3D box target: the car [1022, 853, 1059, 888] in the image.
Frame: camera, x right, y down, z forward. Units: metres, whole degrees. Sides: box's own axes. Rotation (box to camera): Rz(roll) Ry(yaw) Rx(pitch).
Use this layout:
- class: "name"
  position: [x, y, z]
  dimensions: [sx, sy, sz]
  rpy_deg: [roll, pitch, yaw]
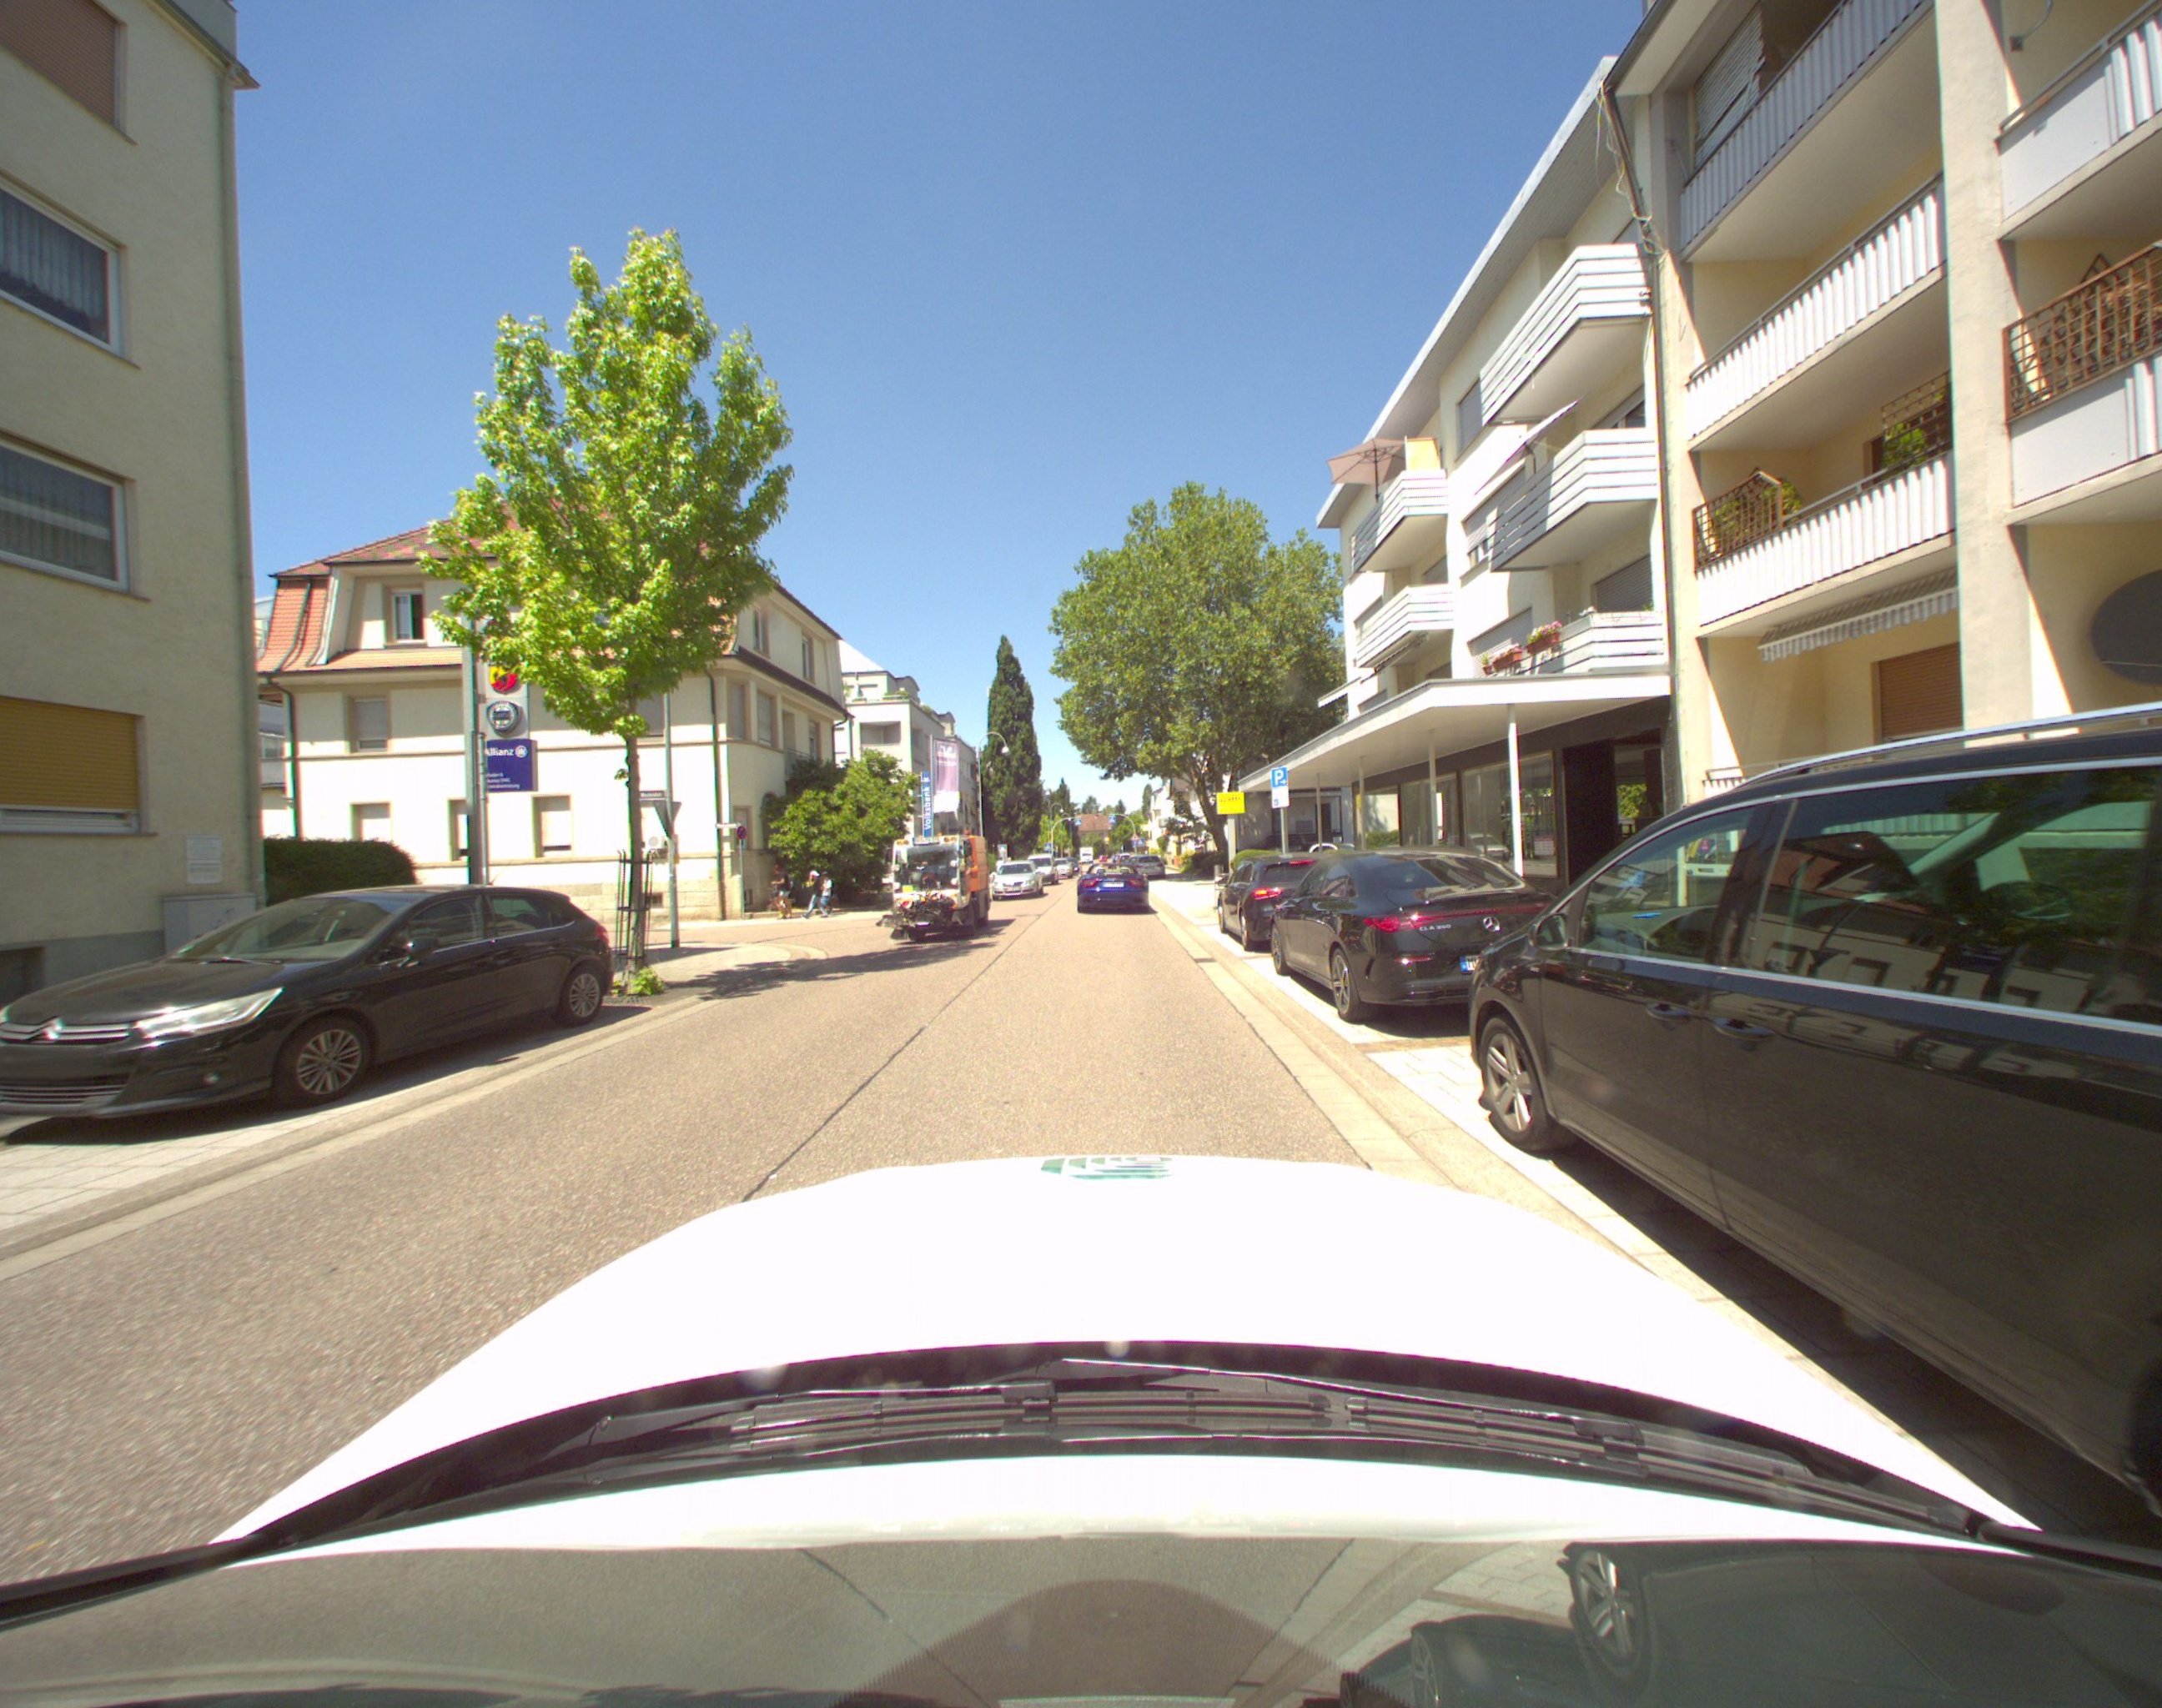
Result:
- class: "car"
  position: [-2.236, 0.904, 46.444]
  dimensions: [1.764, 1.767, 4.137]
  rpy_deg: [-4, 0, 0]

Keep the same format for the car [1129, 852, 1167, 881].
- class: "car"
  position: [3.958, 0.726, 48.819]
  dimensions: [1.969, 1.450, 4.351]
  rpy_deg: [-4, 1, 2]

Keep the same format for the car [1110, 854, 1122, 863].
- class: "car"
  position: [6.437, 0.876, 150.894]
  dimensions: [1.944, 1.476, 4.138]
  rpy_deg: [-4, 0, 1]

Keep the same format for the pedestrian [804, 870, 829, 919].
- class: "pedestrian"
  position: [-7.937, 1.212, 24.429]
  dimensions: [0.598, 1.371, 0.690]
  rpy_deg: [-4, 2, -19]

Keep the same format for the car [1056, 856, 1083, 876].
- class: "car"
  position: [-0.933, 0.968, 66.795]
  dimensions: [1.944, 1.476, 4.138]
  rpy_deg: [-4, 0, 1]

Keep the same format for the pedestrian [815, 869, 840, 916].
- class: "pedestrian"
  position: [-7.857, 1.187, 25.254]
  dimensions: [0.598, 1.371, 0.689]
  rpy_deg: [-4, 2, -23]

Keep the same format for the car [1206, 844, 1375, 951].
- class: "car"
  position: [3.325, 0.644, 13.782]
  dimensions: [1.838, 1.414, 4.164]
  rpy_deg: [-4, -1, 2]

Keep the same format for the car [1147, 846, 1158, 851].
- class: "car"
  position: [20.540, -1.597, 234.750]
  dimensions: [1.933, 1.476, 4.160]
  rpy_deg: [-4, 0, 22]

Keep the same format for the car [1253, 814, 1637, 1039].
- class: "car"
  position: [3.144, 0.556, 8.246]
  dimensions: [1.887, 1.530, 4.570]
  rpy_deg: [-4, -1, 2]

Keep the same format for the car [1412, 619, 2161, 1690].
- class: "car"
  position: [2.836, 0.430, 2.434]
  dimensions: [1.985, 1.798, 4.574]
  rpy_deg: [-4, 1, 3]

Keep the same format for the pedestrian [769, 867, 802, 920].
- class: "pedestrian"
  position: [-8.882, 1.177, 24.497]
  dimensions: [0.601, 1.529, 0.686]
  rpy_deg: [-5, 2, -43]

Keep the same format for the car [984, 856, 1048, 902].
- class: "car"
  position: [-2.512, 0.942, 32.633]
  dimensions: [1.942, 1.508, 4.798]
  rpy_deg: [-4, 0, 1]

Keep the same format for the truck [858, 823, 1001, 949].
- class: "truck"
  position: [-2.918, 0.555, 16.807]
  dimensions: [1.798, 2.117, 4.717]
  rpy_deg: [-4, 0, 2]

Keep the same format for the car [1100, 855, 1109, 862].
- class: "car"
  position: [4.825, 0.960, 169.670]
  dimensions: [1.763, 1.476, 4.138]
  rpy_deg: [-2, -1, 1]

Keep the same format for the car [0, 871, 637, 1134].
- class: "car"
  position: [-6.008, 0.940, 7.029]
  dimensions: [1.746, 1.474, 4.326]
  rpy_deg: [-1, 0, 4]

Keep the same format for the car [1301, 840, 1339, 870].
- class: "car"
  position: [13.425, 0.011, 45.694]
  dimensions: [1.829, 1.453, 4.019]
  rpy_deg: [-5, -1, 18]

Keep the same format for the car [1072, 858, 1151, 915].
- class: "car"
  position: [0.832, 0.825, 22.713]
  dimensions: [1.969, 1.398, 4.628]
  rpy_deg: [0, 0, 1]

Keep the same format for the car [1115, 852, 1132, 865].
- class: "car"
  position: [5.476, 0.598, 105.769]
  dimensions: [1.944, 1.476, 4.138]
  rpy_deg: [-4, 0, 1]

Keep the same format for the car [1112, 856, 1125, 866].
- class: "car"
  position: [6.129, 1.079, 134.028]
  dimensions: [1.944, 1.476, 4.138]
  rpy_deg: [-4, 0, 1]

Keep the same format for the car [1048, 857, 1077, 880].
- class: "car"
  position: [-1.274, 1.022, 57.897]
  dimensions: [1.763, 1.476, 4.138]
  rpy_deg: [-4, 0, 1]

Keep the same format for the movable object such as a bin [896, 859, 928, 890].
- class: "movable object such as a bin"
  position: [-8.891, 1.058, 42.846]
  dimensions: [1.353, 1.494, 1.296]
  rpy_deg: [-4, 2, -2]

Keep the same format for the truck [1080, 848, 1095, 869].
- class: "truck"
  position: [1.074, 0.741, 144.054]
  dimensions: [2.413, 3.482, 7.001]
  rpy_deg: [-4, 0, 0]

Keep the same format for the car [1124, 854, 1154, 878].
- class: "car"
  position: [4.294, 0.859, 61.065]
  dimensions: [1.969, 1.556, 4.351]
  rpy_deg: [-4, 1, 2]

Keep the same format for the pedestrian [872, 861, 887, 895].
- class: "pedestrian"
  position: [-9.823, 1.152, 39.665]
  dimensions: [0.679, 1.623, 0.712]
  rpy_deg: [0, -2, -15]

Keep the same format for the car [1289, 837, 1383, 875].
- class: "car"
  position: [11.735, 0.126, 37.790]
  dimensions: [1.854, 1.453, 3.965]
  rpy_deg: [-5, -1, -26]

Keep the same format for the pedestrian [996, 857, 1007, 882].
- class: "pedestrian"
  position: [-5.106, 0.961, 52.191]
  dimensions: [0.585, 1.574, 0.781]
  rpy_deg: [-2, 0, 1]
